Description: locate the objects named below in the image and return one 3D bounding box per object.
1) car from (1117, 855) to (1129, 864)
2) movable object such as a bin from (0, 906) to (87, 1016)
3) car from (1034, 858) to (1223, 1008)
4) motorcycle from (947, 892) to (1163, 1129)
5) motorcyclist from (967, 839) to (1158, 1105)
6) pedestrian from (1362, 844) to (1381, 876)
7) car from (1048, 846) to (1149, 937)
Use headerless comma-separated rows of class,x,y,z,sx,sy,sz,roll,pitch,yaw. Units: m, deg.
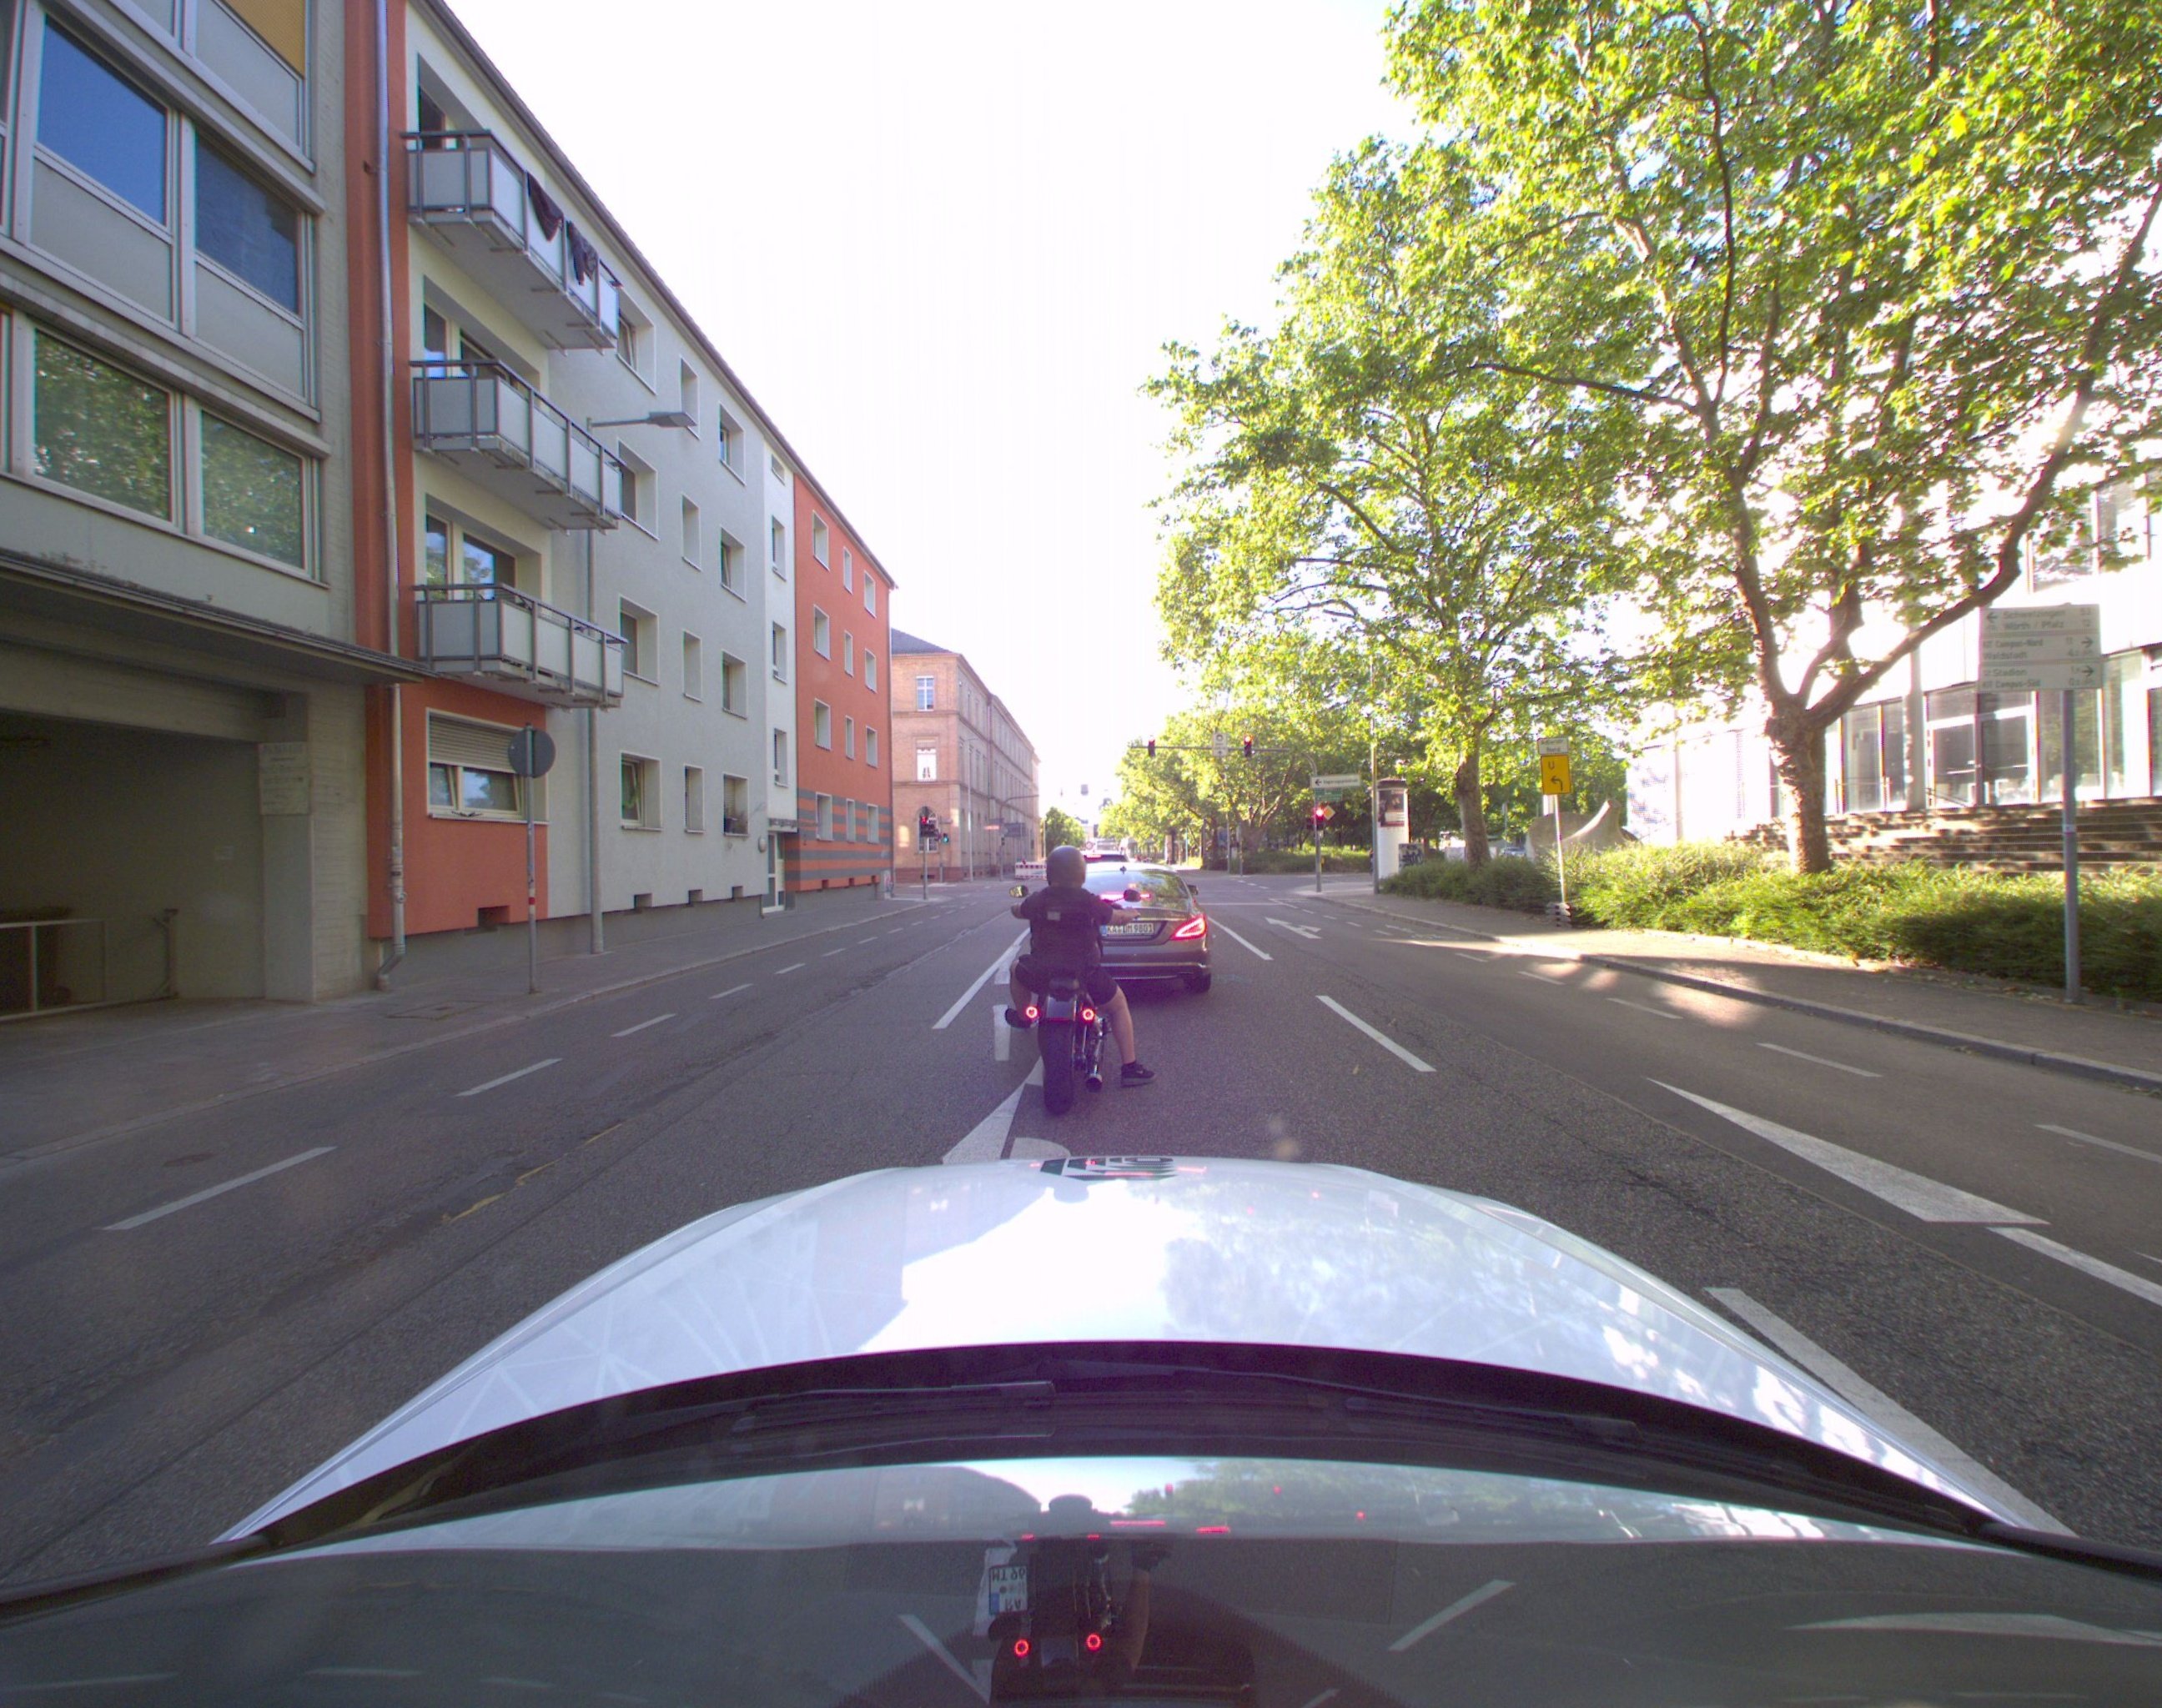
car,6.143,0.835,119.499,1.625,1.259,3.717,0,0,2
movable object such as a bin,-11.286,1.116,8.660,0.533,1.079,0.723,0,-1,3
car,0.519,0.780,9.792,1.815,1.437,3.807,0,-1,2
motorcycle,-0.043,0.912,5.635,1.111,1.207,2.217,0,-1,8
motorcyclist,-0.072,0.705,5.417,1.093,1.566,1.074,0,-1,8
pedestrian,16.493,0.347,46.195,0.735,1.778,0.728,0,-1,-7
car,0.379,0.711,17.081,1.856,1.678,4.001,0,-1,2
